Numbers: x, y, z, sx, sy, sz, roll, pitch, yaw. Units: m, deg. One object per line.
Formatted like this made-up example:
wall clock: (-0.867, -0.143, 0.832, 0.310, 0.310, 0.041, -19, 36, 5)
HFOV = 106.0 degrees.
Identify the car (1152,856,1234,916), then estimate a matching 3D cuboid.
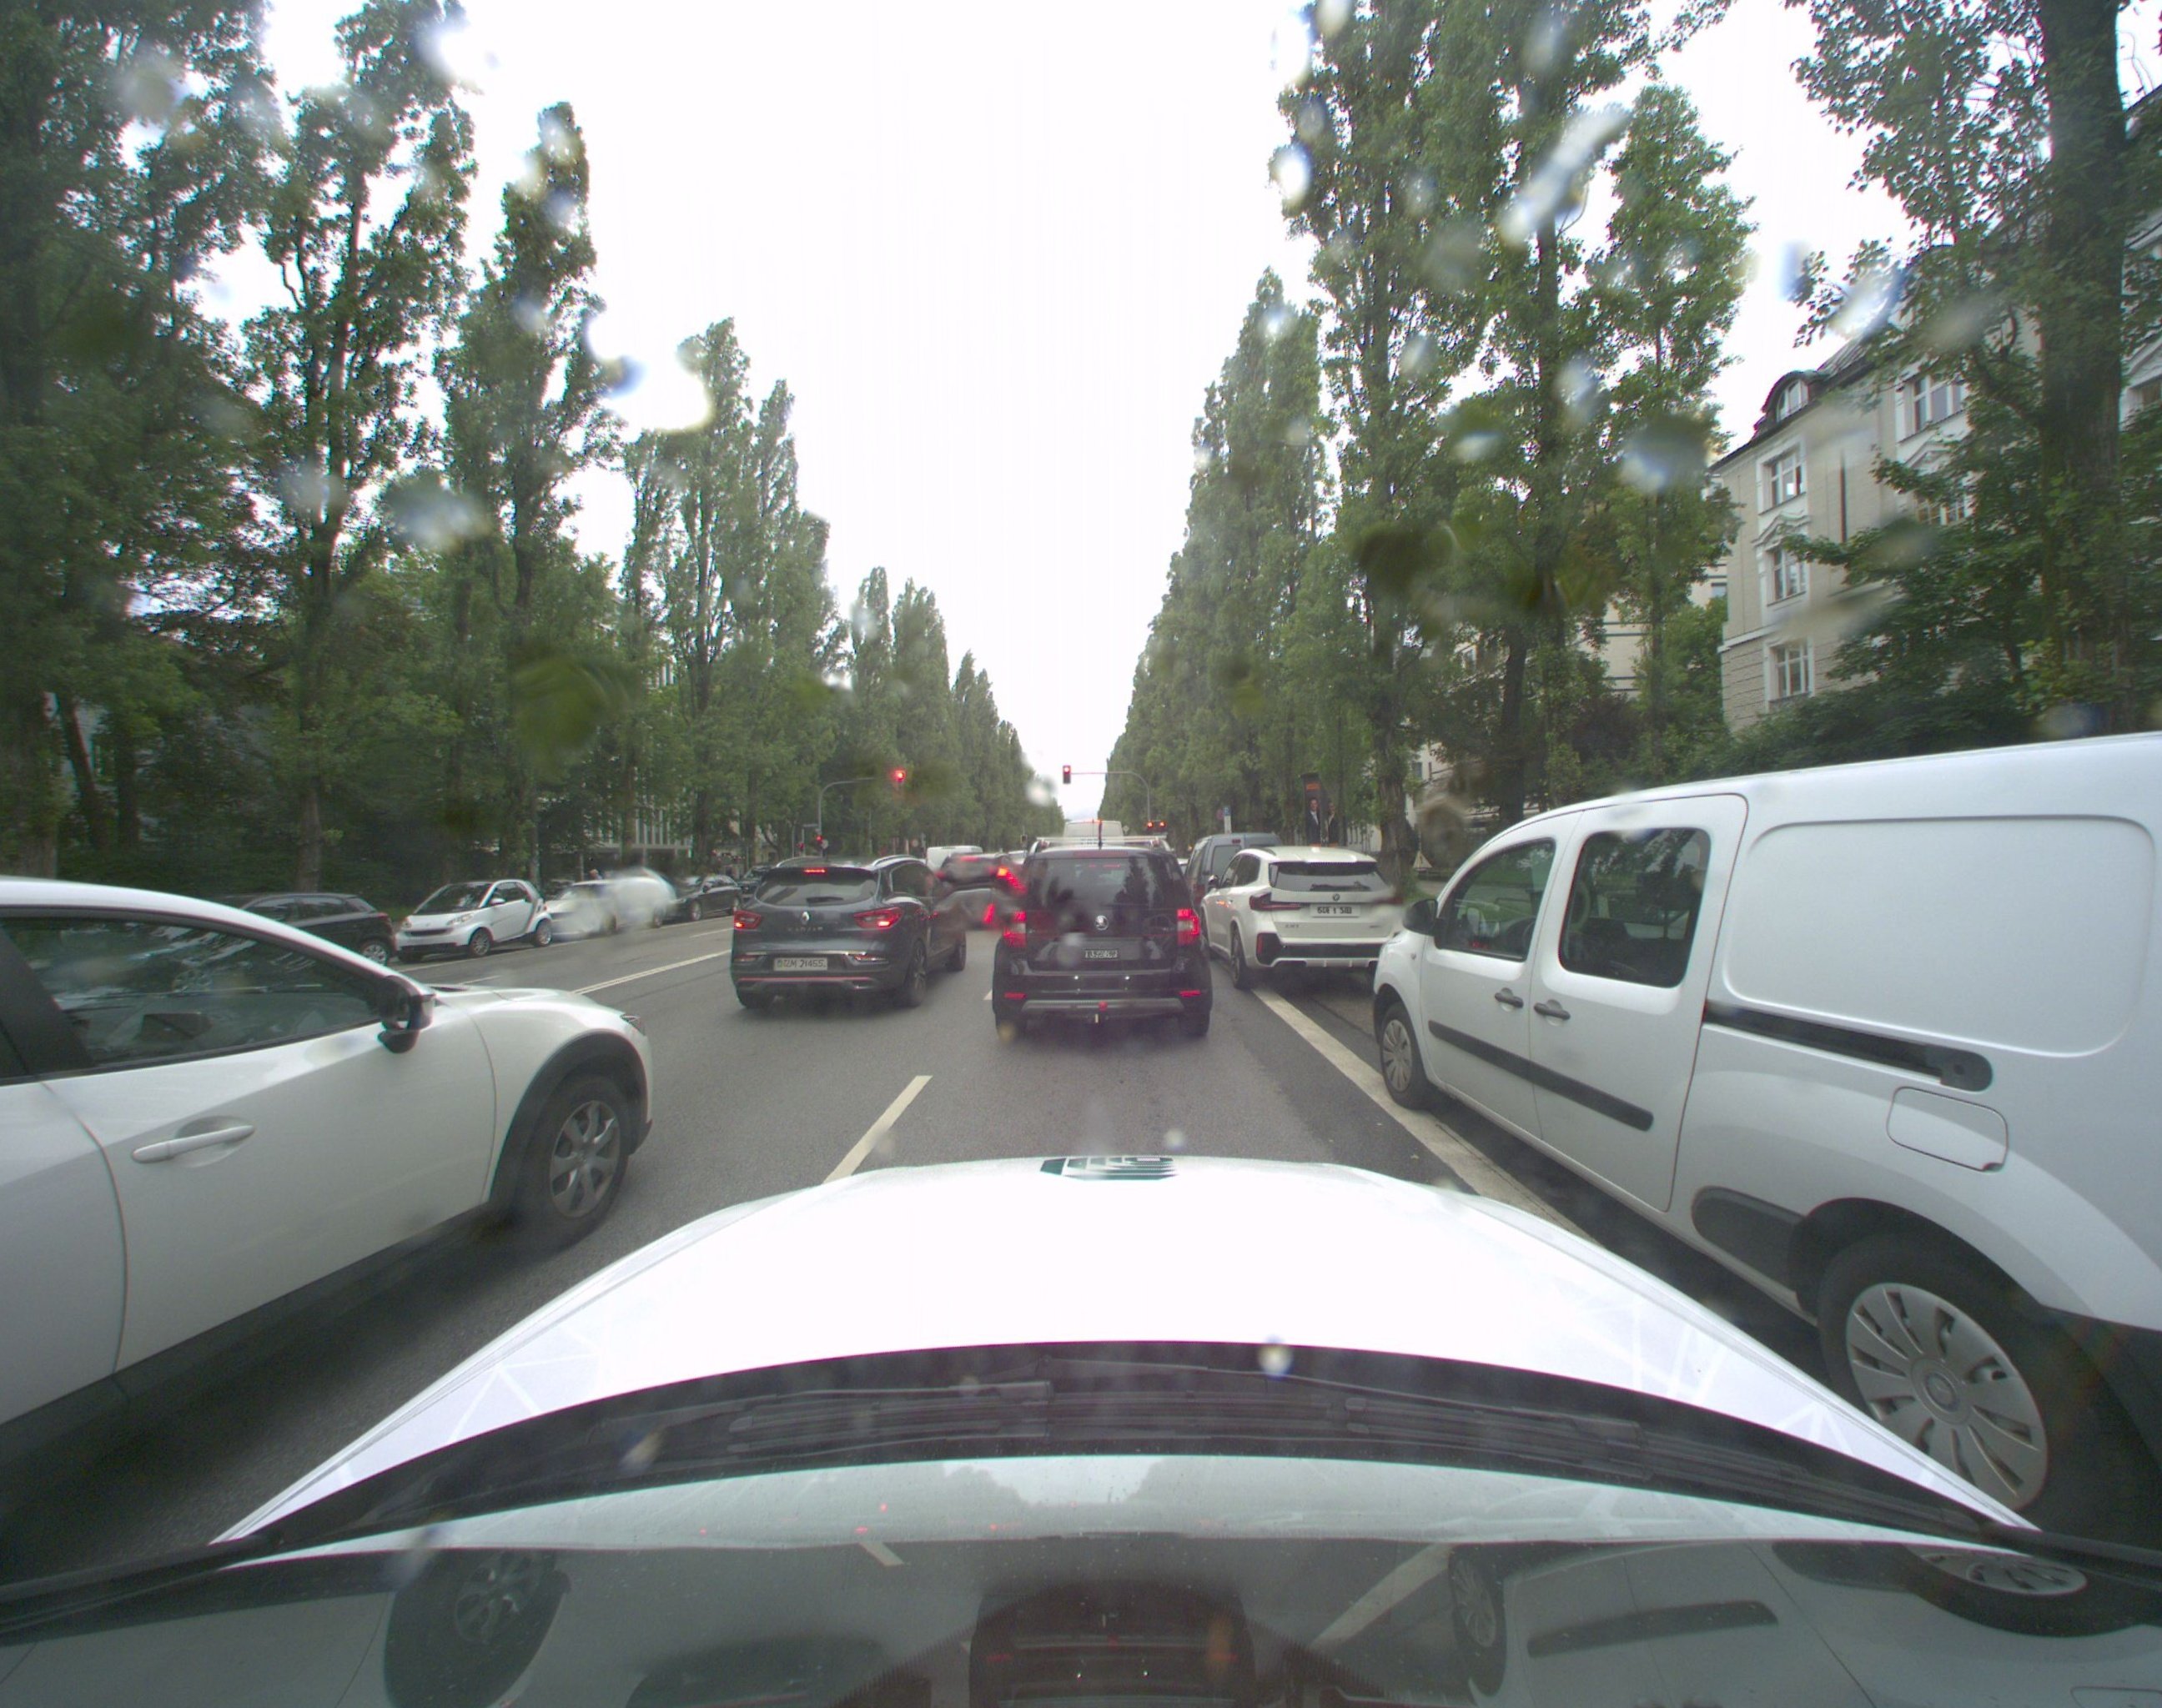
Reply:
car: (2.905, 0.787, 21.783, 1.729, 1.387, 3.563, -2, 0, 1)

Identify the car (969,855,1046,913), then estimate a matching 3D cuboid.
car: (-2.191, 0.860, 25.476, 1.987, 1.560, 4.000, -2, 0, 0)

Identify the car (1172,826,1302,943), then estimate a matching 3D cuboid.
car: (2.848, 0.505, 15.709, 1.729, 1.895, 4.025, -2, 0, 1)

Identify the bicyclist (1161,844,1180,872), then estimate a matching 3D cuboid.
bicyclist: (5.706, 0.268, 52.172, 0.907, 1.722, 0.820, -2, 0, -15)

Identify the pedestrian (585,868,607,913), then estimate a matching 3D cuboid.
pedestrian: (-17.037, 1.273, 28.598, 0.463, 1.528, 0.395, -2, 0, 1)

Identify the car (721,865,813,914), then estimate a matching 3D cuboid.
car: (-12.414, 1.345, 32.573, 1.844, 1.654, 4.693, -4, 0, -2)

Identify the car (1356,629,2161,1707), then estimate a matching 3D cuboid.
car: (2.744, 0.531, 3.260, 1.845, 1.881, 4.168, -2, 0, 0)

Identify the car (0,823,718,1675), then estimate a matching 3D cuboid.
car: (-2.877, 0.743, 2.043, 1.897, 1.525, 4.012, -2, 0, 3)

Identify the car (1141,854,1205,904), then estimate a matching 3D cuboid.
car: (2.978, 0.770, 27.086, 1.729, 1.475, 3.563, -2, 0, 1)

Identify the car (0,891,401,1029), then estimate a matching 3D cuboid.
car: (-12.581, 1.413, 12.054, 1.594, 1.425, 3.853, -4, 0, 2)

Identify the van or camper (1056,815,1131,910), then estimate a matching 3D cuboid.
van or camper: (0.322, 0.229, 24.436, 1.969, 2.548, 4.023, -2, 0, -1)

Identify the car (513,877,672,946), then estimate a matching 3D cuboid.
car: (-12.505, 1.404, 21.204, 1.619, 1.389, 4.164, -4, 0, -2)

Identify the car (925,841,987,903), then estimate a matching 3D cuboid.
car: (-4.667, 0.663, 30.954, 1.777, 2.111, 4.021, -3, -1, -2)

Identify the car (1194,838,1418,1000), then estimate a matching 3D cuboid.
car: (2.593, 0.655, 10.436, 1.735, 1.593, 4.212, -2, 0, 1)

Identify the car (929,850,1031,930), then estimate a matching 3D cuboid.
car: (-2.231, 0.740, 18.955, 1.775, 1.620, 4.025, -1, 0, 1)

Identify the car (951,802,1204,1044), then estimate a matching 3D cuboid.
car: (0.016, 0.503, 7.961, 1.849, 1.770, 4.001, 0, 0, 1)

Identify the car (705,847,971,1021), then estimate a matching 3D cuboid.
car: (-2.532, 0.745, 9.643, 1.829, 1.586, 4.185, -1, 0, 1)

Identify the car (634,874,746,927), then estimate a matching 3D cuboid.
car: (-12.551, 1.437, 26.455, 1.619, 1.389, 4.164, -4, 0, -2)

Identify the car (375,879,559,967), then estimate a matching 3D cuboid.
car: (-12.530, 1.348, 16.843, 1.423, 1.447, 2.966, -5, 0, 0)
